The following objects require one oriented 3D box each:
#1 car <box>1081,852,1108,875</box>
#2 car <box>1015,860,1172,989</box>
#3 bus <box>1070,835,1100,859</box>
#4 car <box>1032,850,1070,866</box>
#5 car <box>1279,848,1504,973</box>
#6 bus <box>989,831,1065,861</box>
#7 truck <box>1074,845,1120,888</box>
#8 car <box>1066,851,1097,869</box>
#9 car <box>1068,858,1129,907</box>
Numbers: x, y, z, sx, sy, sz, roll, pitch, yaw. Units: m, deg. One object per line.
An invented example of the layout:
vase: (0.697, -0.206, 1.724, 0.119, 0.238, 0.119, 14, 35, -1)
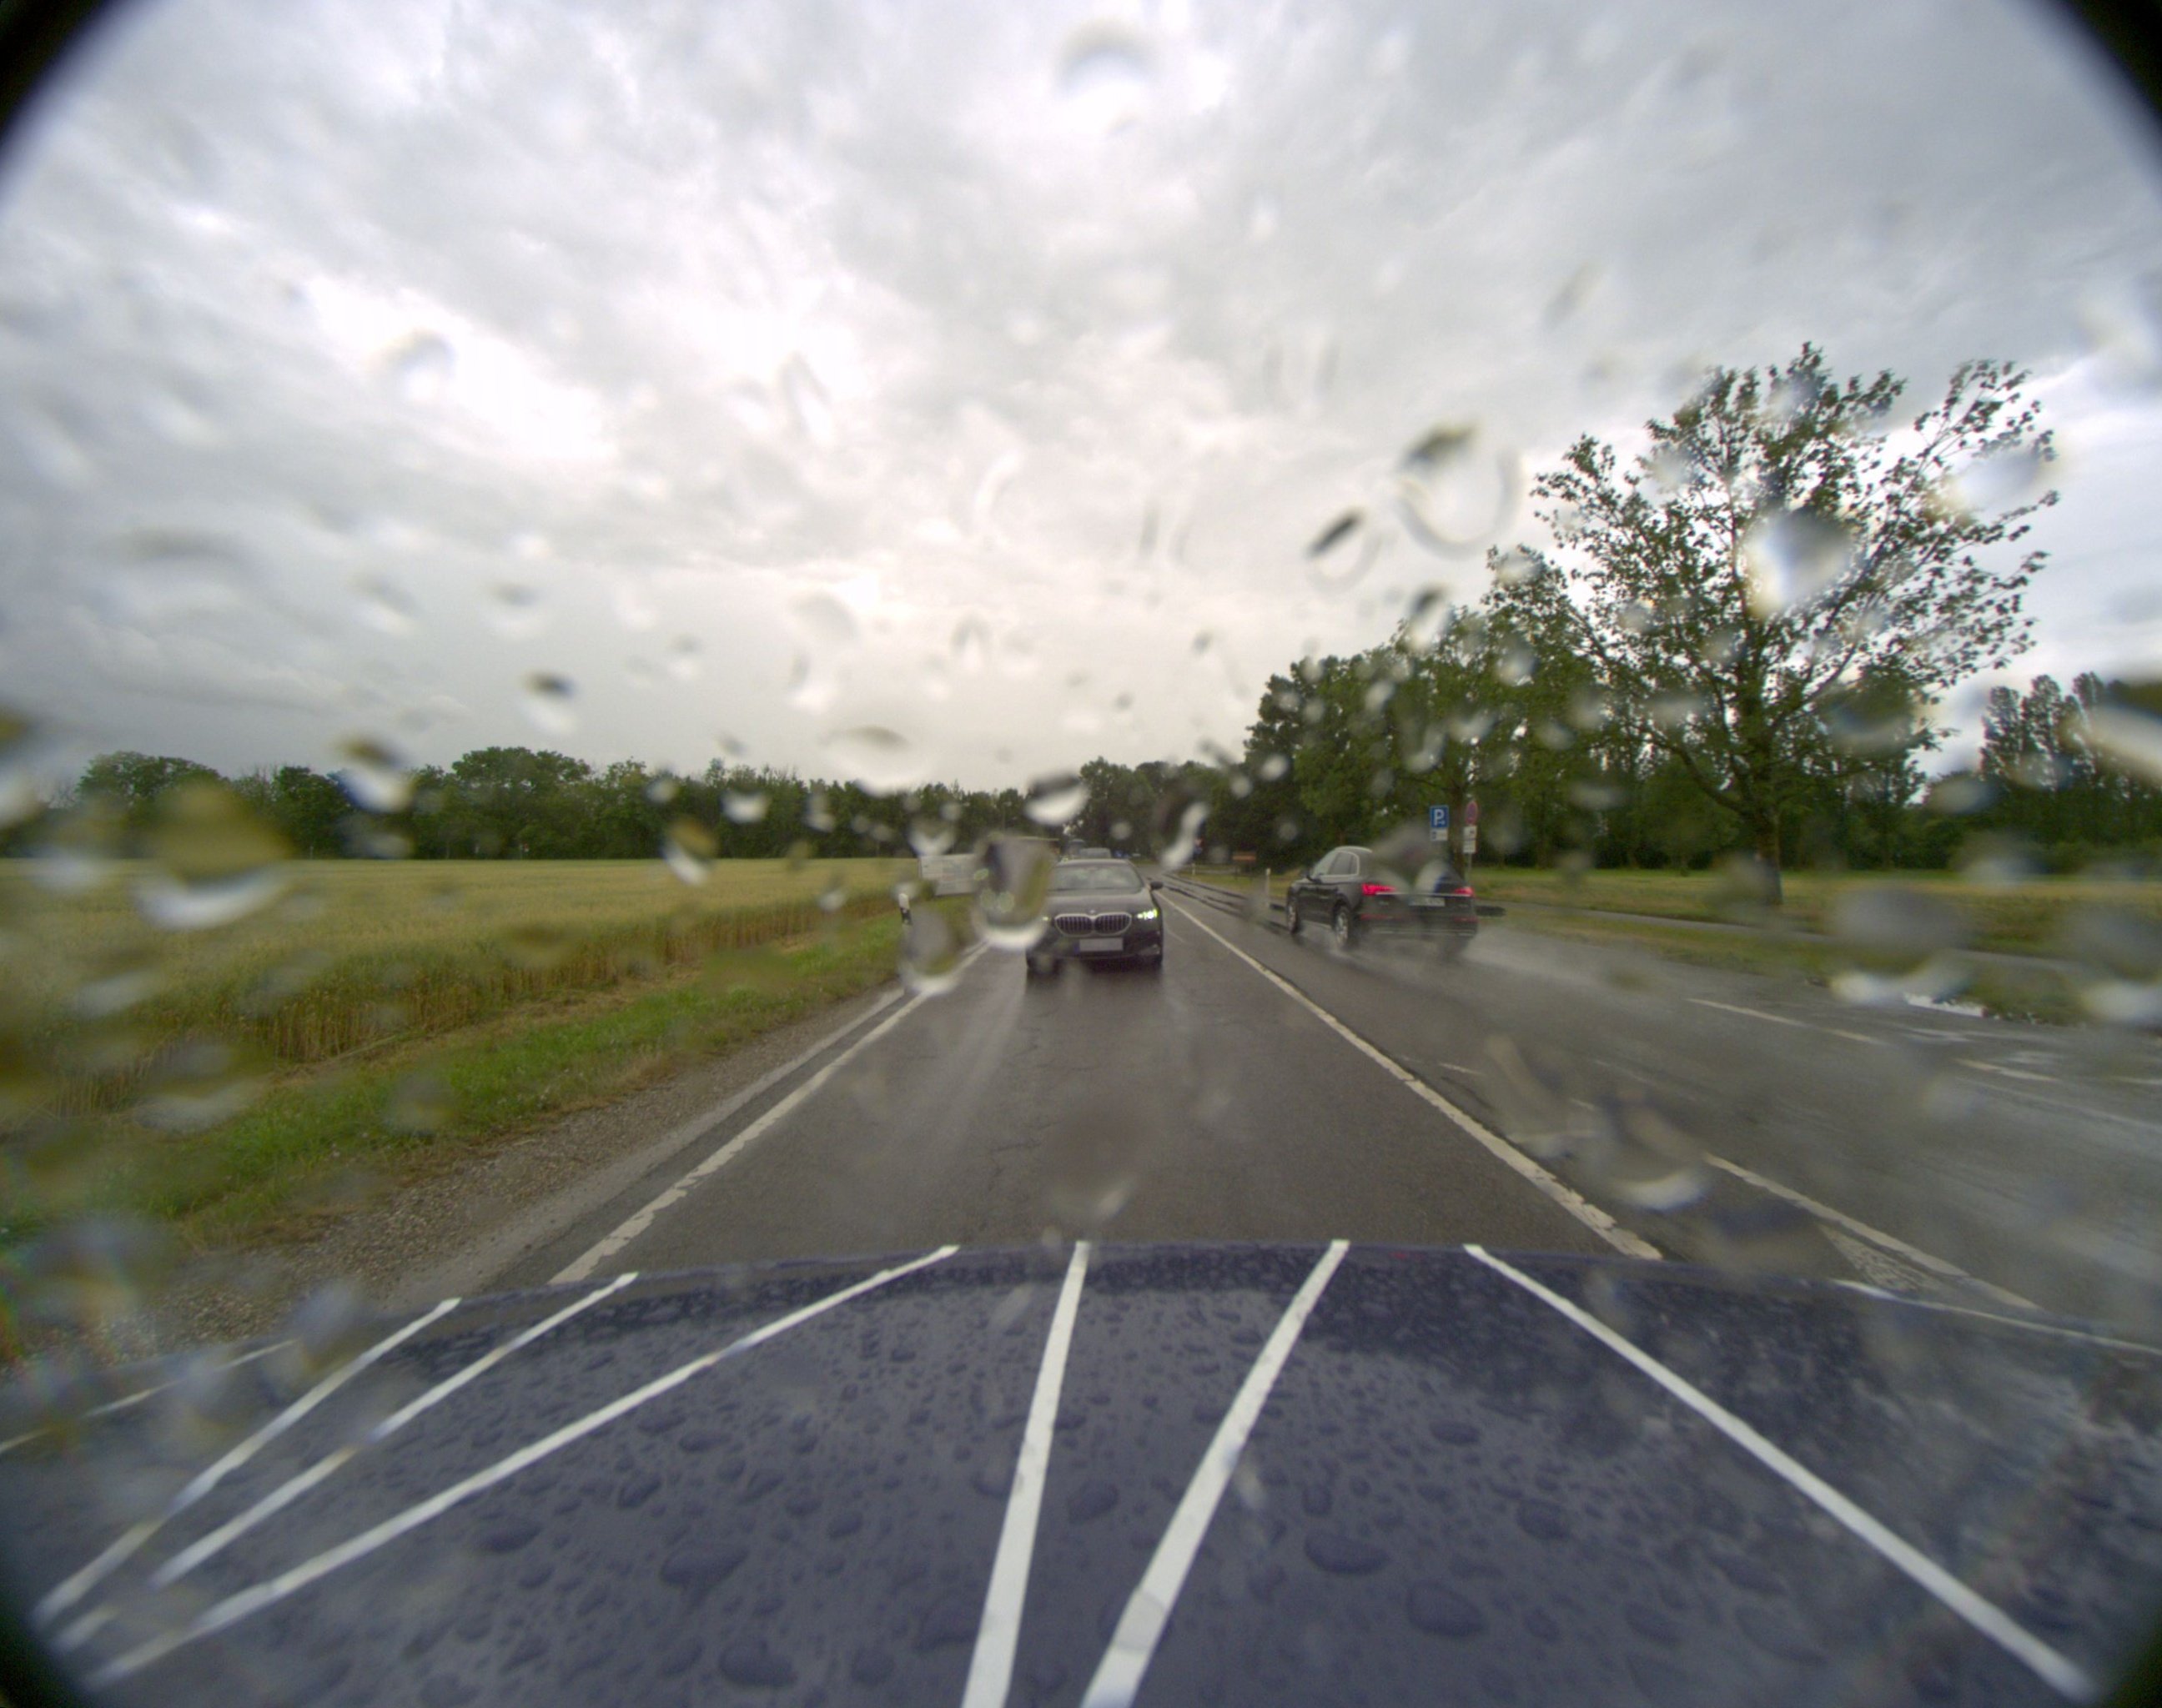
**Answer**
car: (0.939, 0.640, 55.599, 1.892, 1.522, 5.255, -1, 0, 0)
car: (0.213, 0.881, 11.312, 1.891, 1.484, 4.035, -1, 0, 2)
bus: (0.779, -1.020, 116.256, 2.854, 3.417, 14.301, 1, 1, 7)
car: (-3.114, 0.423, 77.122, 1.896, 1.522, 4.491, -2, 0, -31)
car: (4.837, 0.757, 12.641, 1.921, 1.622, 4.357, 3, 1, 1)
bus: (-6.713, -0.981, 98.208, 2.990, 3.665, 14.320, 1, 1, 26)
truck: (0.773, 0.595, 40.412, 2.076, 2.050, 5.768, -2, 0, -2)
car: (0.017, 0.526, 67.766, 1.893, 1.522, 4.497, -1, 0, -11)
car: (0.601, 0.911, 26.217, 1.891, 1.482, 4.192, -2, 0, 1)
